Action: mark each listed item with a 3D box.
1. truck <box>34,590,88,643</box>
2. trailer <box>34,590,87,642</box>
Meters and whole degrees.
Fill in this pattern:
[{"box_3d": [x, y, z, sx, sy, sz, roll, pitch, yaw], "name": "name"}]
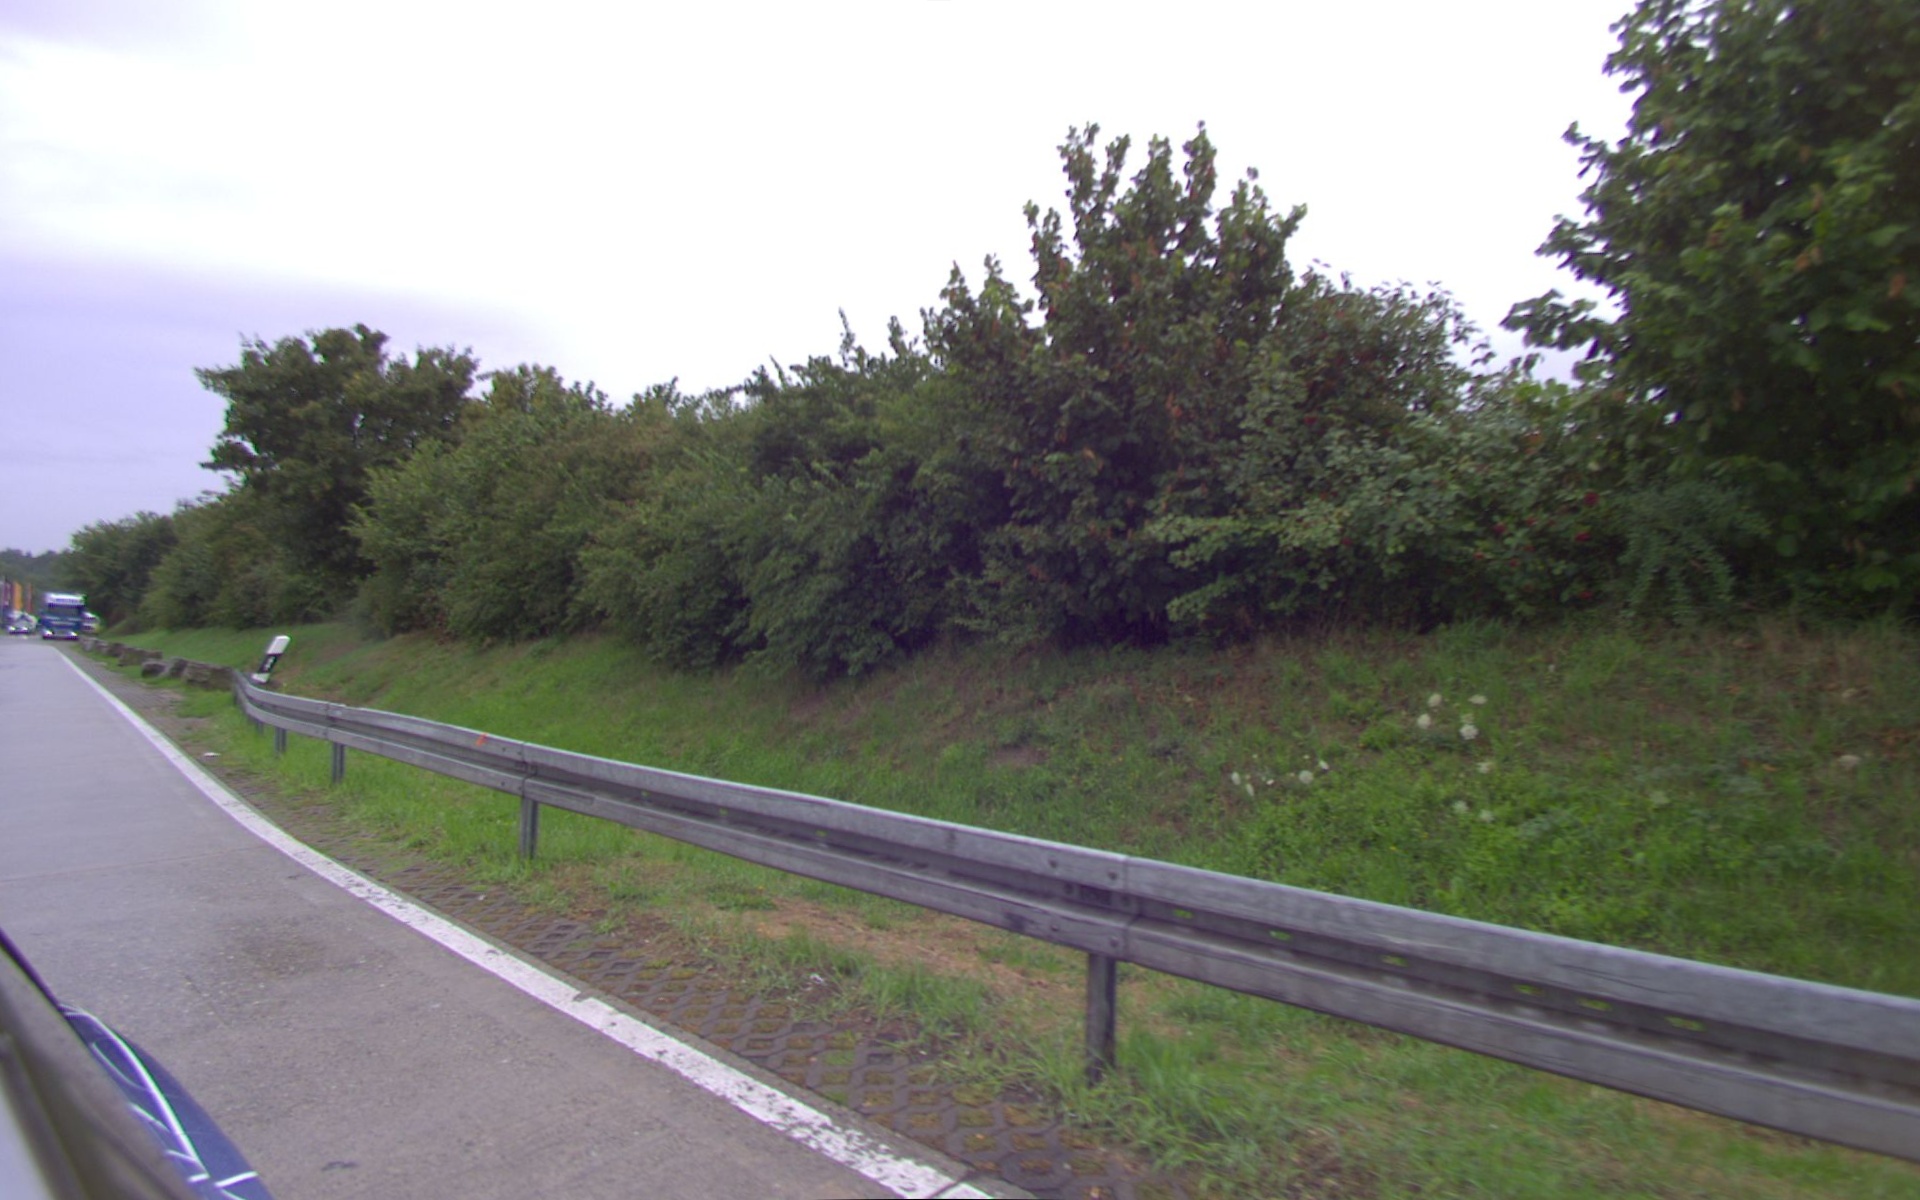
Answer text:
[{"box_3d": [-77.399, 1.468, 87.094, 3.197, 4.420, 6.320, 3, -3, -43], "name": "truck"}, {"box_3d": [-81.820, 1.505, 91.944, 3.196, 4.420, 13.780, 3, -3, -43], "name": "trailer"}]
